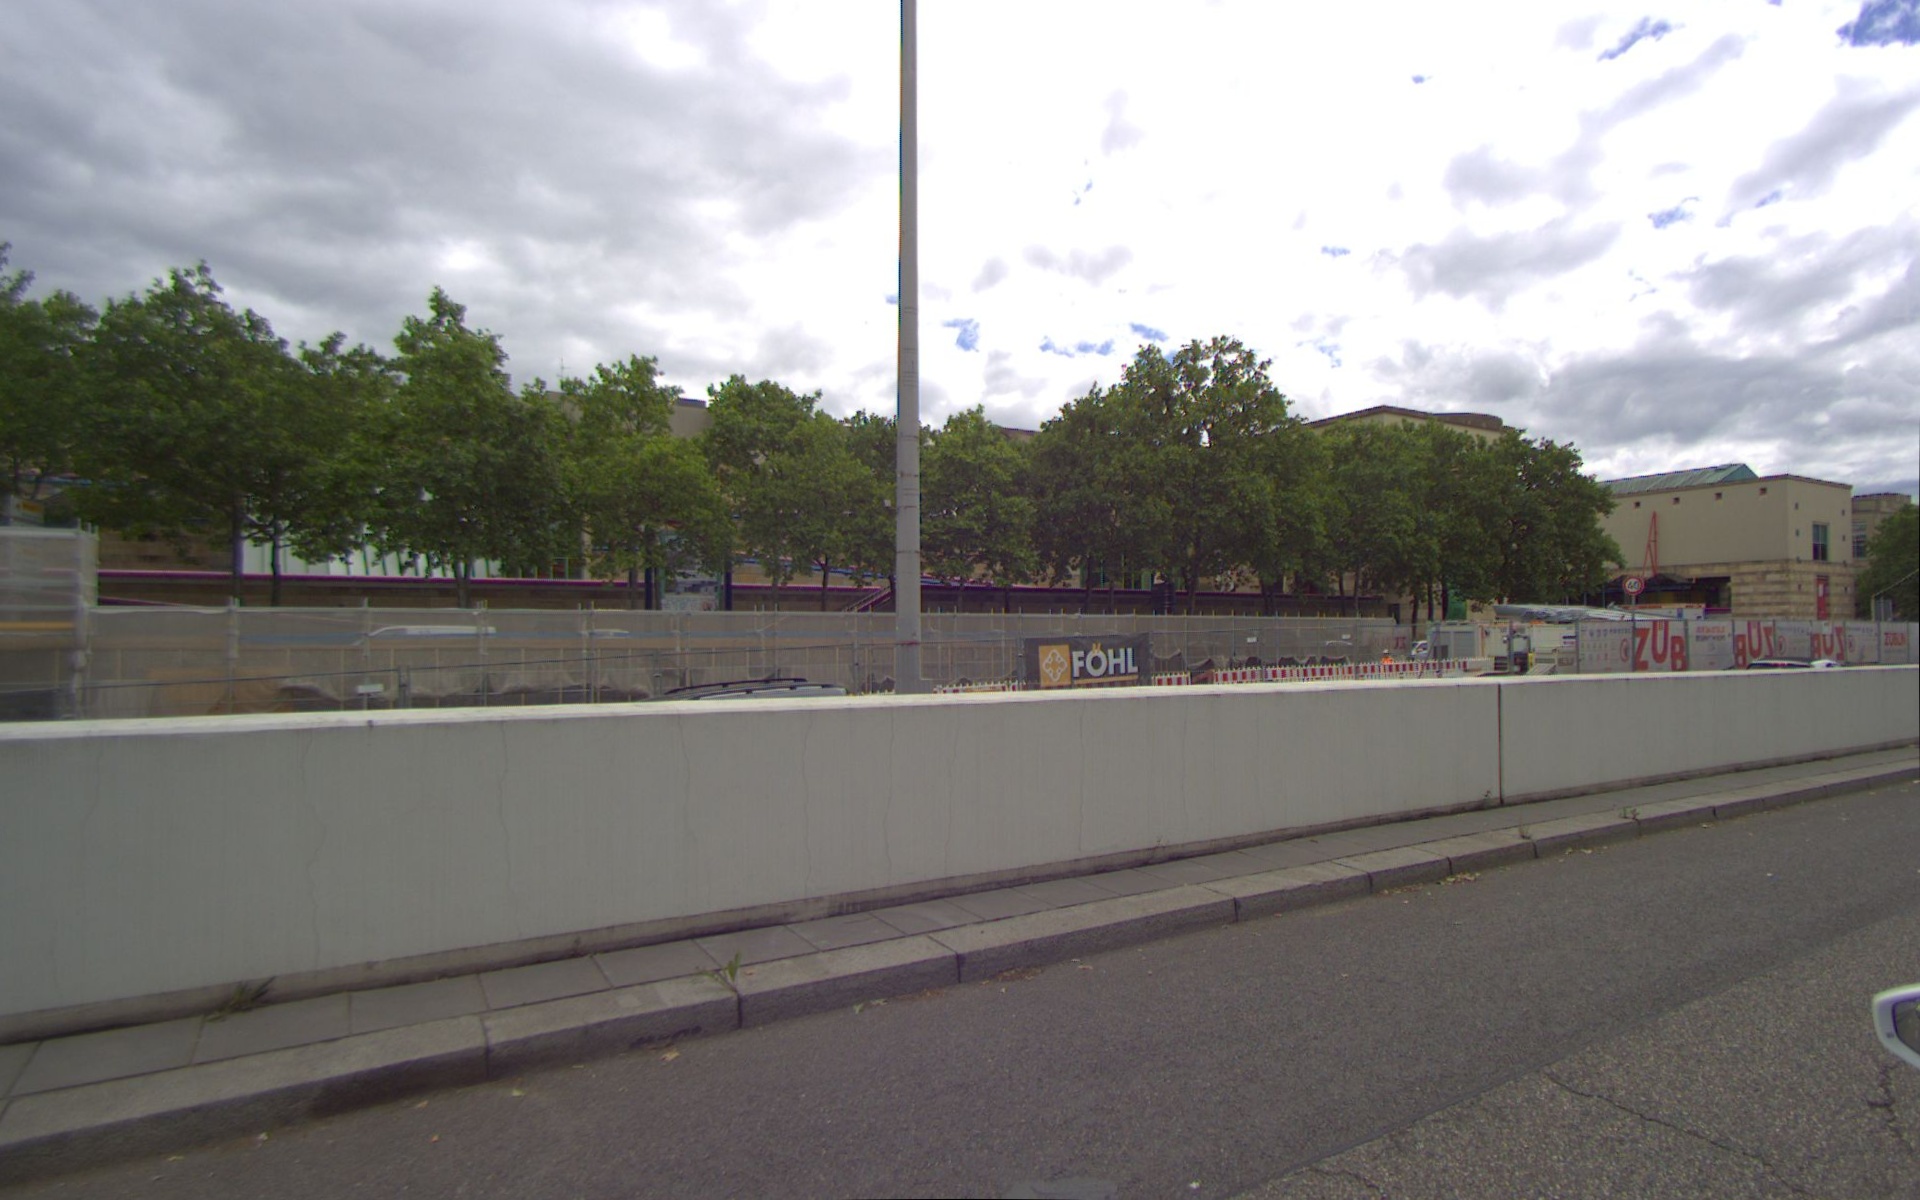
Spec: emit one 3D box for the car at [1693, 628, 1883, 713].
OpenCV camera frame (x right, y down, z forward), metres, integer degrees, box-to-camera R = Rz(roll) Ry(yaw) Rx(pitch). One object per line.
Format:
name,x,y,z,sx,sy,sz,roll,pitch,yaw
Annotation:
car,17.729,1.466,21.480,3.956,1.663,1.983,2,-3,-32

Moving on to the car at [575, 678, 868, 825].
car,-3.068,1.844,12.981,3.338,1.588,1.743,2,-5,-31
